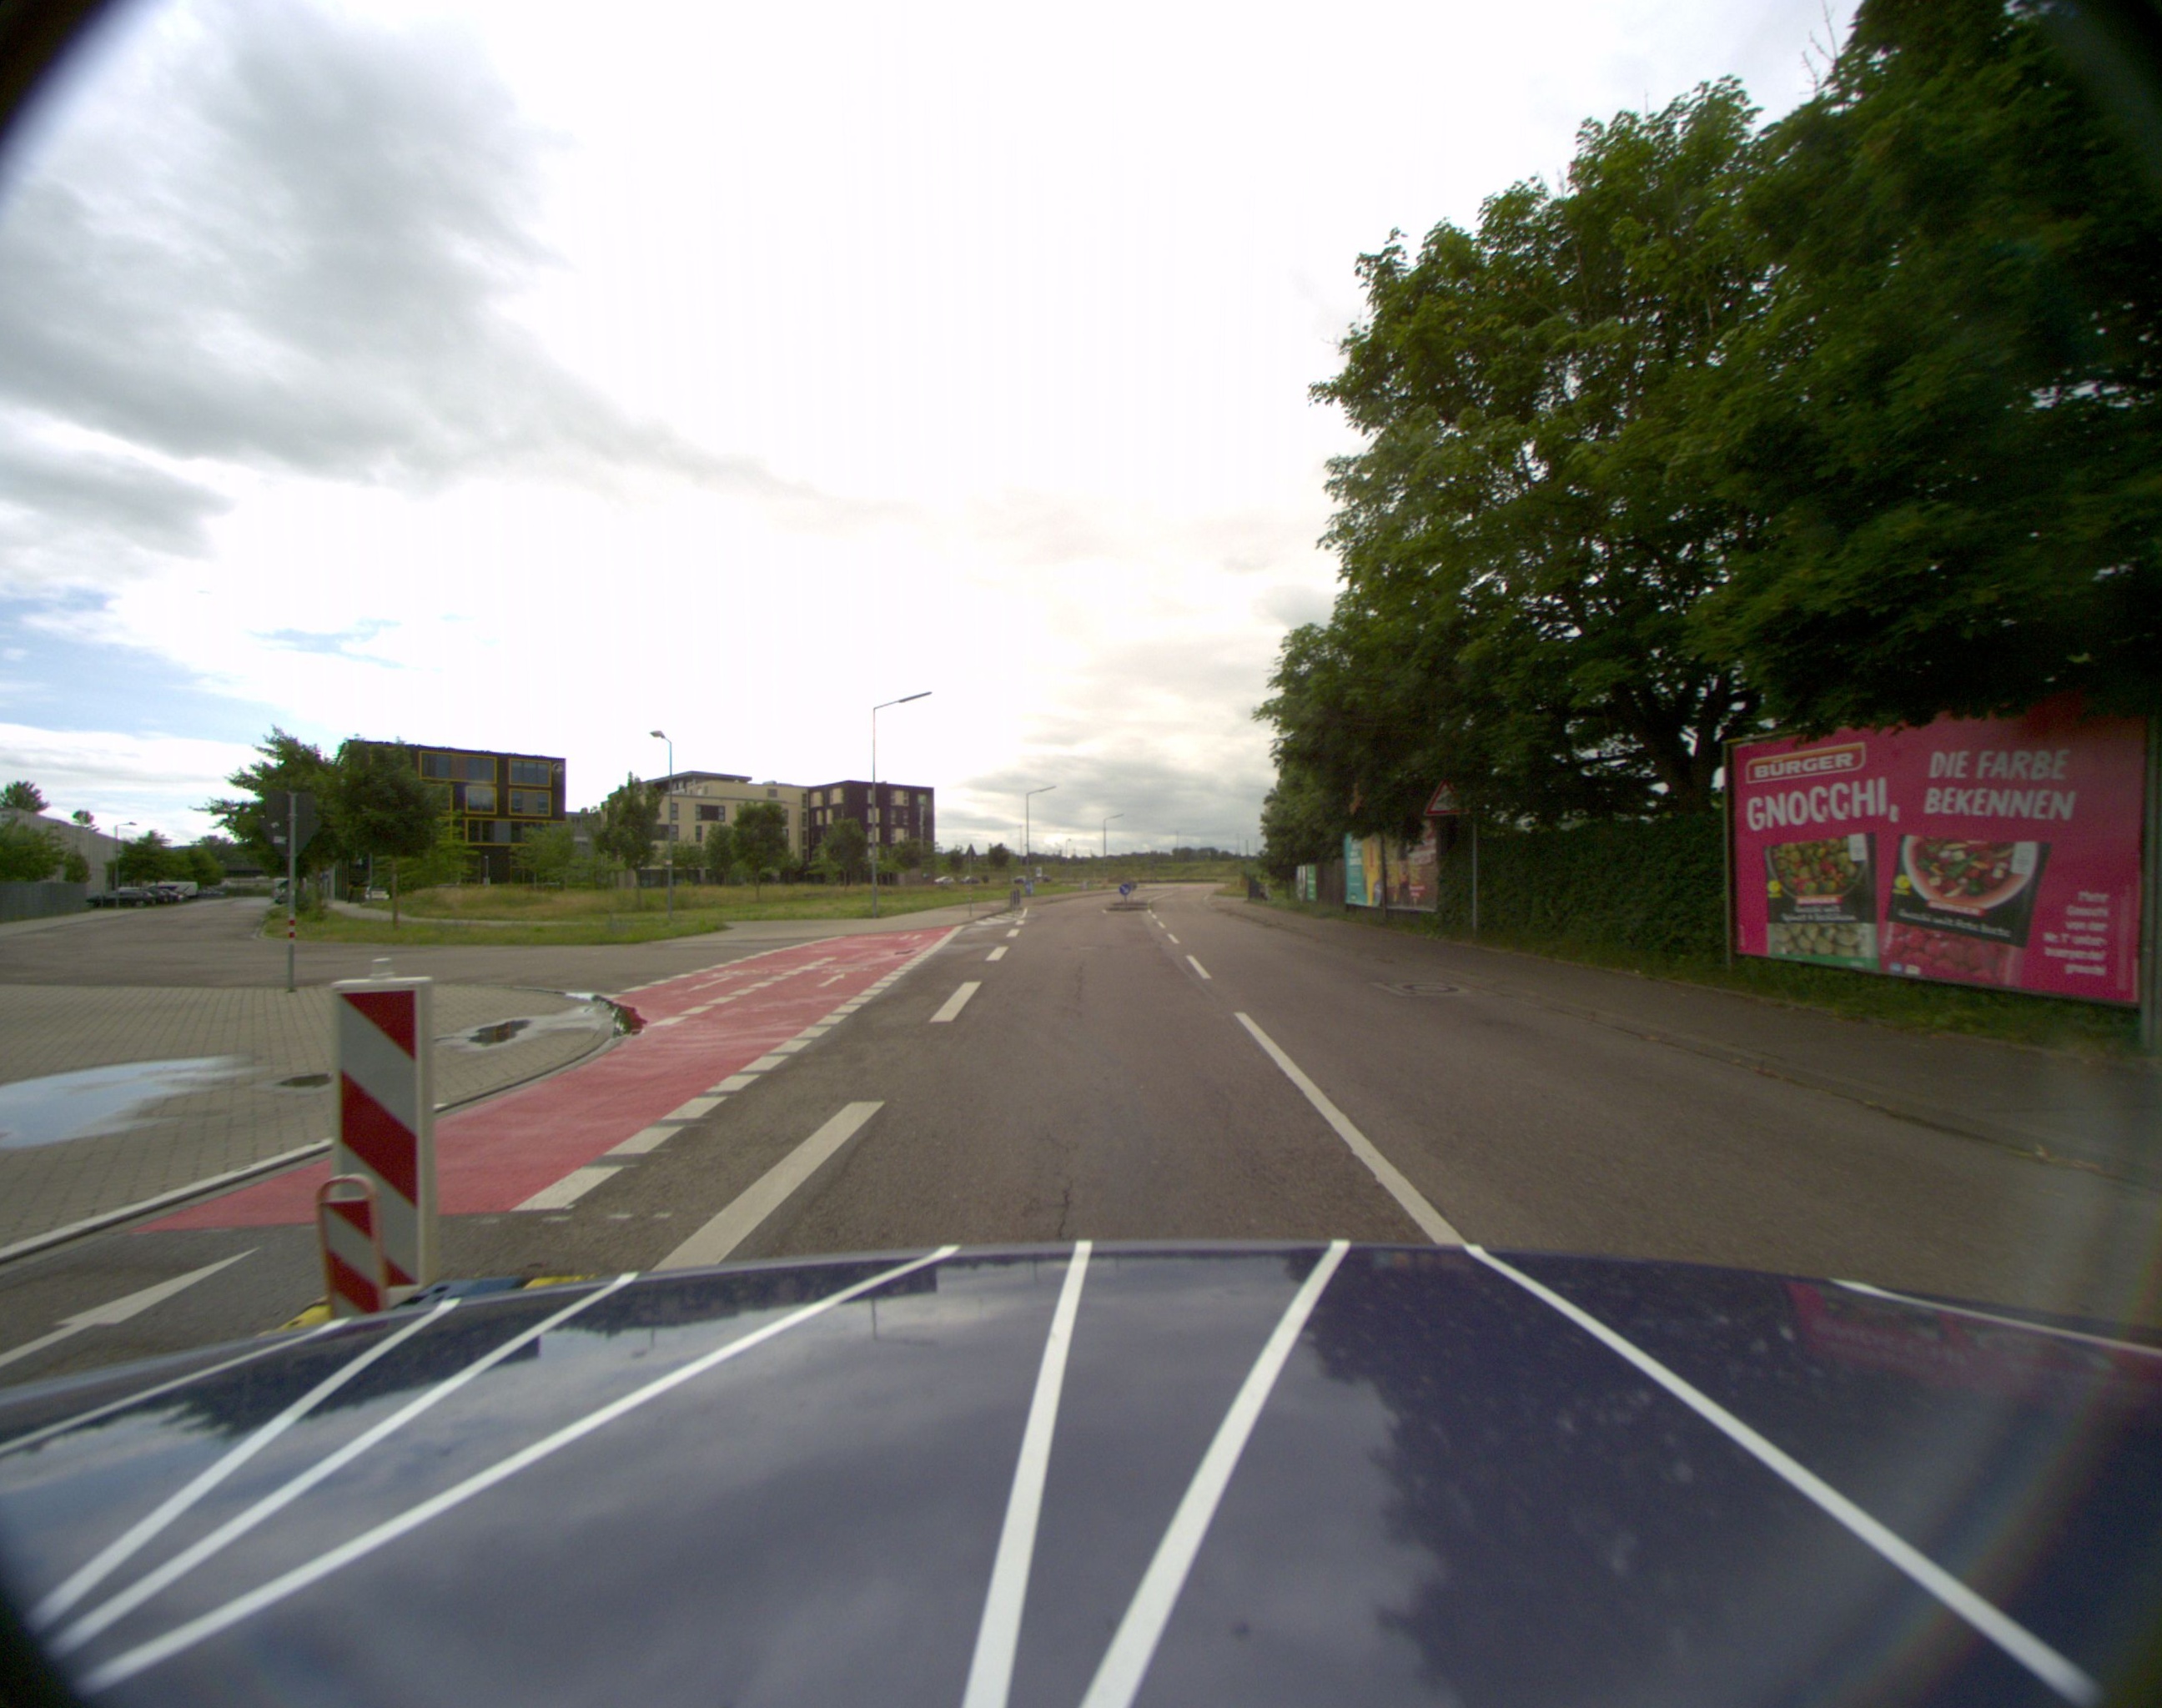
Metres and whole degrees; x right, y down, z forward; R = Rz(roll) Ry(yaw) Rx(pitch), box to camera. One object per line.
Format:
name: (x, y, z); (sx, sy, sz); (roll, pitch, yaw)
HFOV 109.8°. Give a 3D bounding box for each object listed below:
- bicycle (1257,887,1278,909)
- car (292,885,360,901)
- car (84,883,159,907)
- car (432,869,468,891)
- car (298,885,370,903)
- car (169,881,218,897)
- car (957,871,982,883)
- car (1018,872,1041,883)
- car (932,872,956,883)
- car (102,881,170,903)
bicycle: (9.472, 2.234, 38.565); (0.583, 0.992, 1.773); (-4, -2, 29)
car: (-64.762, 3.334, 65.261); (4.009, 1.324, 1.559); (1, -2, -42)
car: (-83.985, 3.550, 66.567); (1.994, 2.001, 4.009); (-2, -2, 39)
car: (-60.053, 2.465, 72.273); (3.989, 2.001, 2.005); (-2, -2, 41)
car: (-60.156, 3.187, 61.278); (4.009, 1.324, 1.559); (1, -2, -42)
car: (-114.056, 4.497, 97.703); (1.994, 2.001, 4.009); (-2, -2, 42)
car: (-19.769, 4.109, 134.928); (1.994, 2.001, 4.009); (-1, -2, 43)
car: (-9.536, 4.313, 142.074); (1.994, 2.001, 4.009); (-1, -2, 43)
car: (-25.271, 4.291, 139.931); (1.994, 2.001, 4.009); (-1, -2, 43)
car: (-89.216, 3.571, 71.800); (1.994, 2.001, 4.009); (-2, -2, 39)
